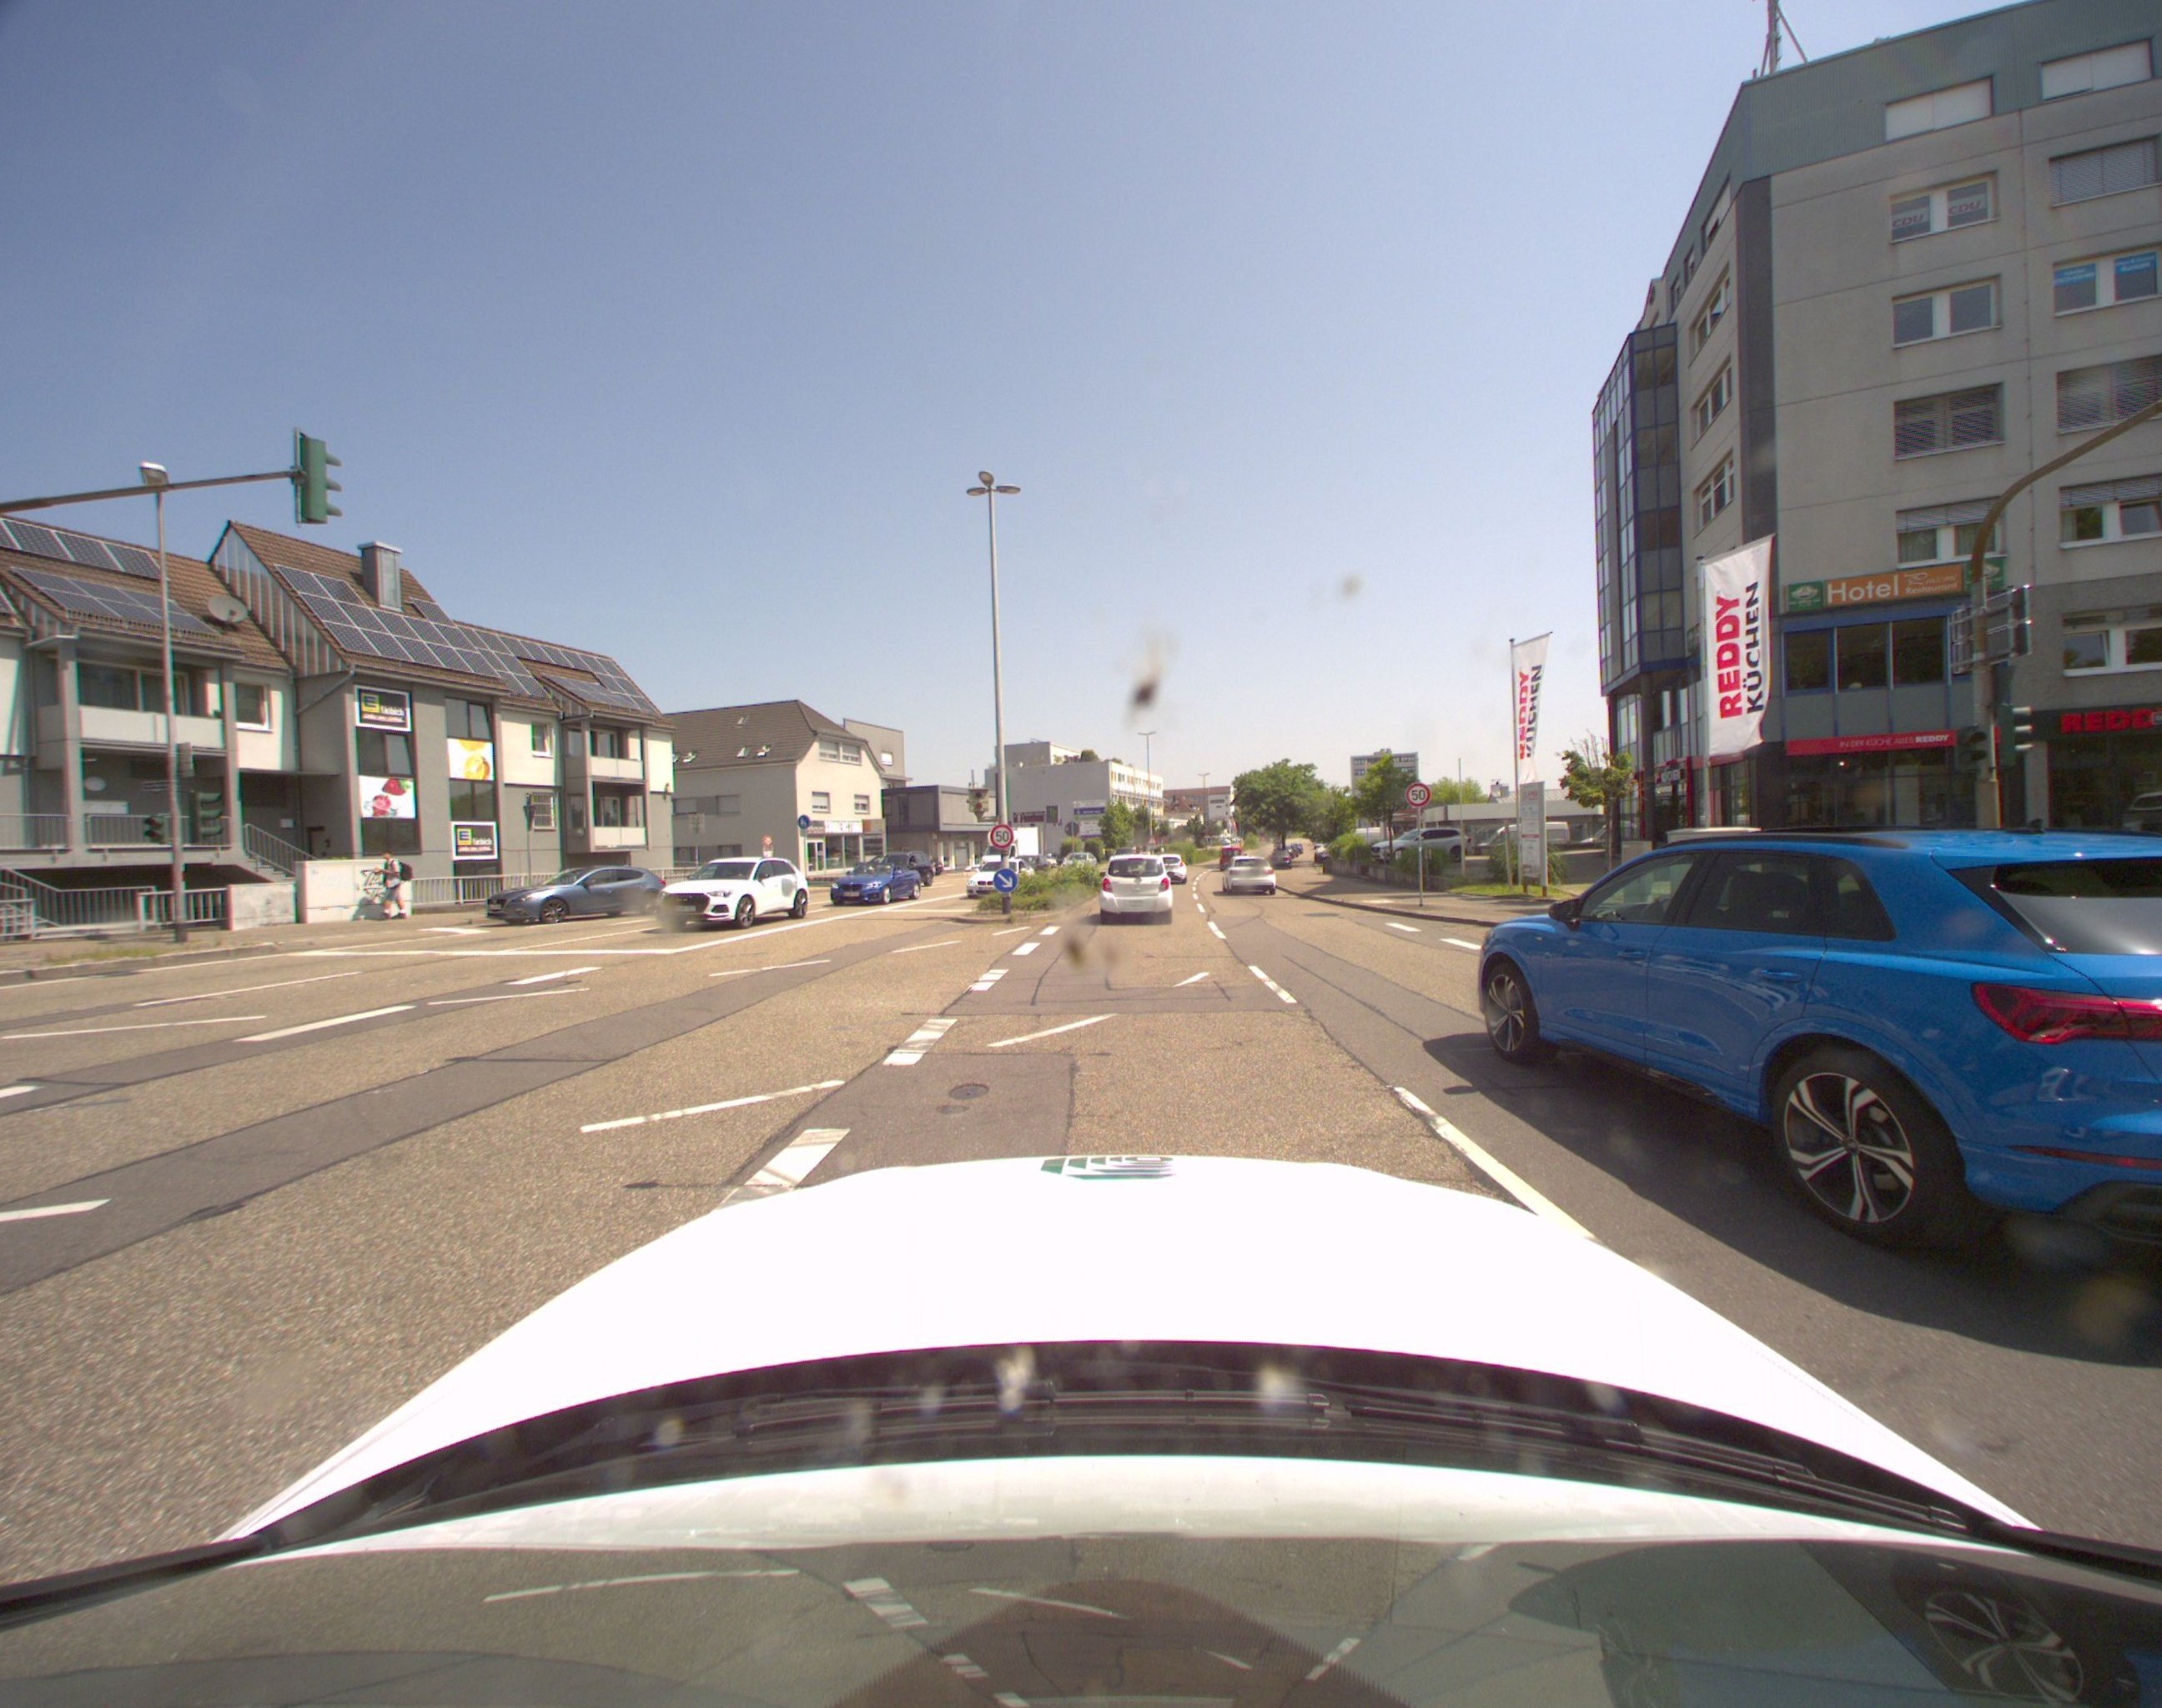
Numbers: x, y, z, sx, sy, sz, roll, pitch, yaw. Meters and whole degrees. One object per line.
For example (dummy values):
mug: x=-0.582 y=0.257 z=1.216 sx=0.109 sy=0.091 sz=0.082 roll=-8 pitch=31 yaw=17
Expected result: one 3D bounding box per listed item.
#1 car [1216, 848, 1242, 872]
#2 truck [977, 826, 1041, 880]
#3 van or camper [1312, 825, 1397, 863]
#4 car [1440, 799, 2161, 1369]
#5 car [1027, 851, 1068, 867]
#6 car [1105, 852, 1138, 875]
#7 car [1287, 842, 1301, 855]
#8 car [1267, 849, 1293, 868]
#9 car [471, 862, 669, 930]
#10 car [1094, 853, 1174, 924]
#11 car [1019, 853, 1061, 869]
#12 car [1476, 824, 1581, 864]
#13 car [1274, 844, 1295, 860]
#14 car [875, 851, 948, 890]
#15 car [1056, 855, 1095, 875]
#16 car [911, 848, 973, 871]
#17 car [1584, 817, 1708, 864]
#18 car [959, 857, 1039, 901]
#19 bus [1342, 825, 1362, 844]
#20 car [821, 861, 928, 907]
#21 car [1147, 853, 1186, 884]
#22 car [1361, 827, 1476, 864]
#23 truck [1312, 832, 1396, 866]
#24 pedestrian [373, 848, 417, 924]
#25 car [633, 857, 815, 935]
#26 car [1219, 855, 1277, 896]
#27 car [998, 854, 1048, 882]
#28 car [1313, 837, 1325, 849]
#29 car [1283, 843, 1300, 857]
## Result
car: x=11.076 y=0.427 z=60.892 sx=1.783 sy=1.729 sz=3.985 roll=-1 pitch=0 yaw=11
truck: x=-4.774 y=-0.029 z=55.511 sx=2.249 sy=3.417 sz=7.062 roll=-1 pitch=-1 yaw=12
van or camper: x=23.483 y=-0.830 z=70.147 sx=6.744 sy=2.897 sz=2.285 roll=-3 pitch=1 yaw=16
car: x=3.879 y=0.631 z=4.489 sx=1.906 sy=1.597 sz=4.396 roll=-1 pitch=0 yaw=1
car: x=-3.595 y=0.550 z=87.298 sx=3.964 sy=1.371 sz=1.677 roll=-4 pitch=1 yaw=19
car: x=3.339 y=0.750 z=66.507 sx=1.896 sy=1.751 sz=4.775 roll=-1 pitch=-1 yaw=12
car: x=28.395 y=-0.778 z=108.280 sx=1.700 sy=1.548 sz=4.810 roll=-3 pitch=0 yaw=15
car: x=15.473 y=0.341 z=63.198 sx=1.784 sy=1.406 sz=4.338 roll=-1 pitch=0 yaw=15
car: x=-13.417 y=1.032 z=21.697 sx=1.477 sy=1.449 sz=4.297 roll=-1 pitch=1 yaw=26
car: x=1.293 y=0.762 z=19.170 sx=1.704 sy=1.511 sz=3.251 roll=-1 pitch=-1 yaw=5
car: x=-4.242 y=0.754 z=84.607 sx=3.960 sy=1.459 sz=1.581 roll=-2 pitch=-1 yaw=12
car: x=29.513 y=-0.624 z=53.922 sx=5.836 sy=2.528 sz=2.130 roll=-1 pitch=-1 yaw=20
car: x=22.971 y=-0.280 z=91.715 sx=1.945 sy=1.530 sz=5.185 roll=-5 pitch=0 yaw=17
car: x=-8.139 y=0.738 z=39.500 sx=1.983 sy=1.656 sz=4.603 roll=-2 pitch=0 yaw=7
car: x=-0.333 y=0.742 z=56.727 sx=1.885 sy=1.361 sz=4.210 roll=-1 pitch=0 yaw=11
car: x=-10.431 y=0.419 z=61.022 sx=4.027 sy=1.521 sz=2.008 roll=-2 pitch=0 yaw=14
car: x=35.589 y=-0.778 z=51.519 sx=6.067 sy=2.810 sz=2.009 roll=-1 pitch=-1 yaw=18
car: x=-2.925 y=0.862 z=30.055 sx=1.852 sy=1.431 sz=4.755 roll=-1 pitch=0 yaw=8
bus: x=49.747 y=-3.634 z=149.419 sx=2.780 sy=3.078 sz=12.351 roll=-1 pitch=2 yaw=21
car: x=-6.742 y=0.945 z=27.157 sx=1.852 sy=1.366 sz=4.358 roll=-1 pitch=0 yaw=9
car: x=4.301 y=0.680 z=40.950 sx=1.821 sy=1.450 sz=4.006 roll=-1 pitch=0 yaw=6
car: x=16.052 y=-0.395 z=38.833 sx=4.722 sy=1.713 sz=1.994 roll=-1 pitch=-1 yaw=-9
truck: x=22.015 y=-0.417 z=65.824 sx=6.195 sy=2.336 sz=2.380 roll=-3 pitch=1 yaw=18
pedestrian: x=-18.631 y=0.850 z=22.132 sx=0.500 sy=2.013 sz=0.743 roll=-1 pitch=1 yaw=1
car: x=-8.126 y=0.882 z=19.103 sx=1.807 sy=1.570 sz=4.564 roll=-1 pitch=0 yaw=7
car: x=6.135 y=0.748 z=30.301 sx=1.659 sy=1.399 sz=3.798 roll=-1 pitch=0 yaw=5
car: x=-3.178 y=0.723 z=45.466 sx=1.791 sy=1.439 sz=4.587 roll=-1 pitch=0 yaw=8
car: x=36.755 y=-1.706 z=125.553 sx=1.654 sy=1.596 sz=4.634 roll=-3 pitch=1 yaw=17
car: x=25.112 y=-0.513 z=97.269 sx=1.841 sy=1.481 sz=5.176 roll=-2 pitch=1 yaw=14
